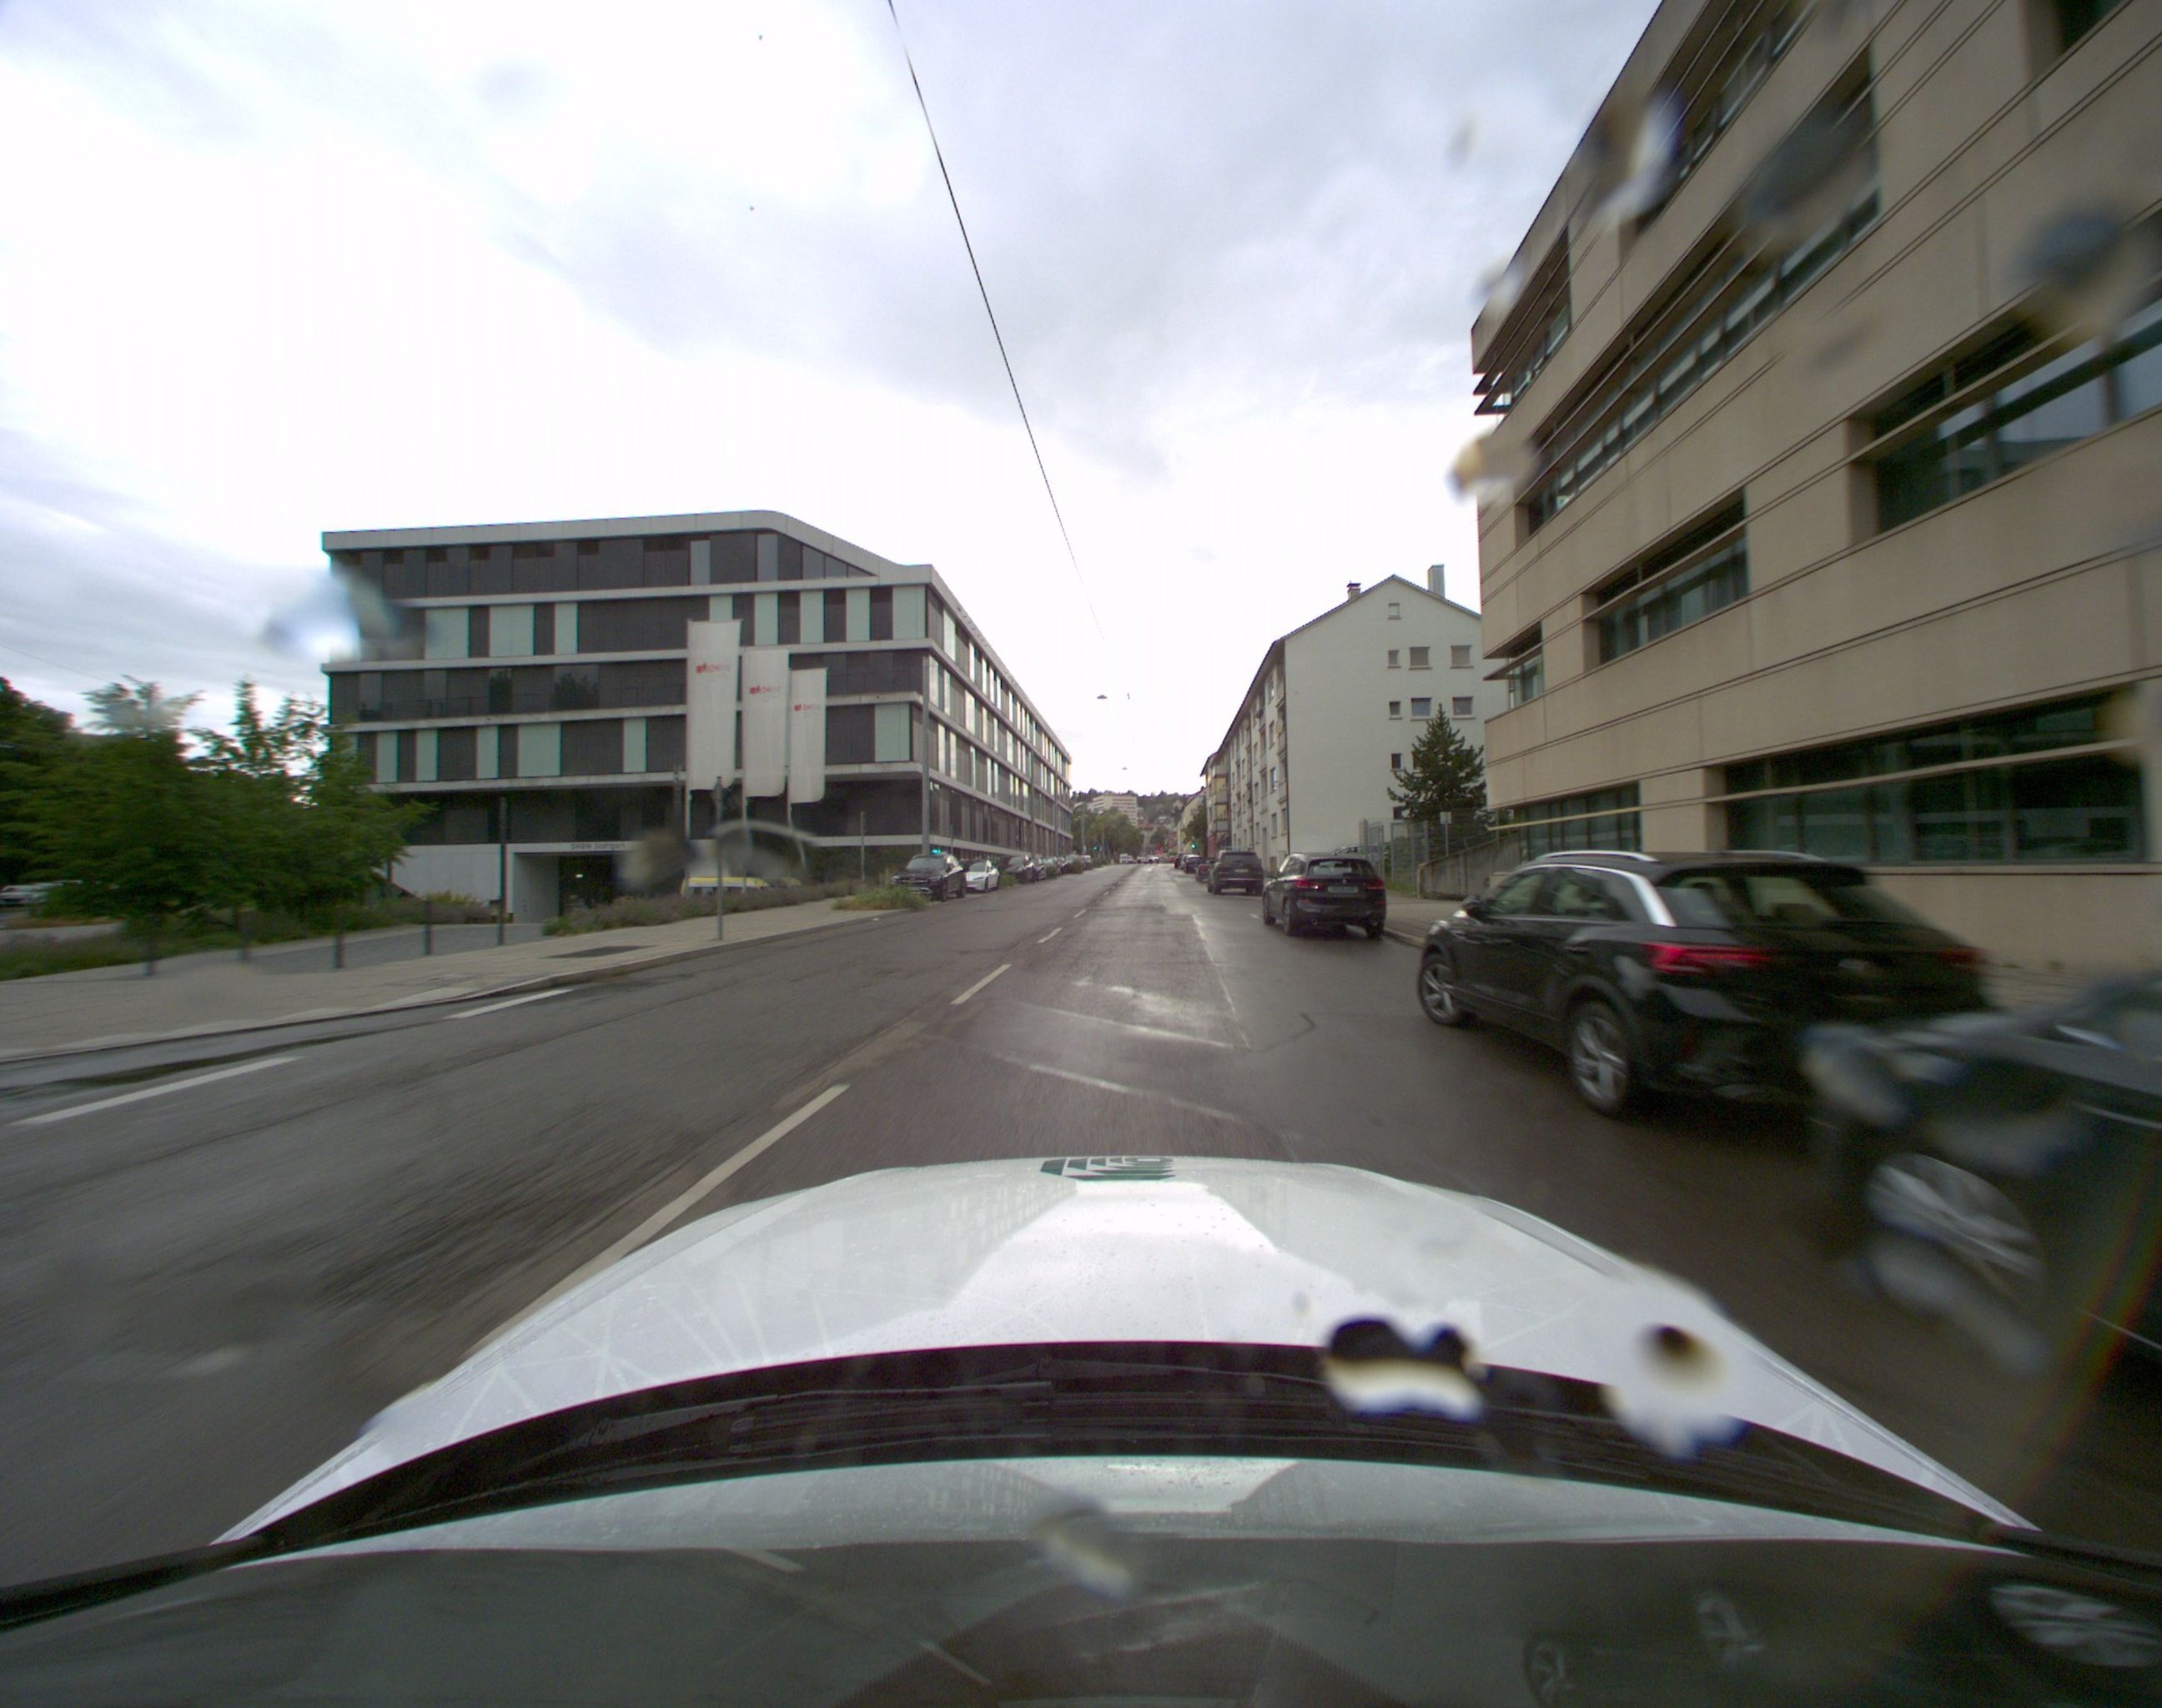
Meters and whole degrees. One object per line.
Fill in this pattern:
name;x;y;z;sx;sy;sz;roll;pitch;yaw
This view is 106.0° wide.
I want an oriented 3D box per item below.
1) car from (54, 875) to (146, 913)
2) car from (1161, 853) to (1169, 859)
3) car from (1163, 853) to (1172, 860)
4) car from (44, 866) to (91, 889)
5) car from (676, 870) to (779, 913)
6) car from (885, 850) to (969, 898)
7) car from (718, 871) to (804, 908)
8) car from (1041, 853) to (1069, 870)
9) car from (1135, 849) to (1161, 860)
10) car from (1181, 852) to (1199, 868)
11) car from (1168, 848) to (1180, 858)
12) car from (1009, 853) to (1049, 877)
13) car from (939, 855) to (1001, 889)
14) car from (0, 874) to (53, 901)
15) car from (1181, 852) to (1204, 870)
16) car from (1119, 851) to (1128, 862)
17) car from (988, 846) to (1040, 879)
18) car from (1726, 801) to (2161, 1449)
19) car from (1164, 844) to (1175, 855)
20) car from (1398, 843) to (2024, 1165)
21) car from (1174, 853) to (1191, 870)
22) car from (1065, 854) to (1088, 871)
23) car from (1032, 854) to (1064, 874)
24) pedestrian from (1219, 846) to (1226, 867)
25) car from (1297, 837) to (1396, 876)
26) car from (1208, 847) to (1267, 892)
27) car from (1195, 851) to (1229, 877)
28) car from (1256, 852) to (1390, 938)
car;-42.443;1.702;35.330;1.676;1.450;3.826;1;0;-36
car;21.755;0.438;209.995;1.856;1.604;4.198;0;0;8
car;20.699;0.548;194.649;1.856;1.604;4.198;0;0;8
car;-77.272;1.771;62.133;1.757;1.607;3.849;1;0;-44
car;-18.769;1.986;43.372;4.576;2.174;1.930;0;0;-1
car;-5.537;0.687;29.915;1.840;1.617;4.497;0;0;5
car;-18.594;2.039;47.394;4.322;2.032;1.600;0;0;4
car;-2.132;0.595;68.311;1.829;1.396;4.398;0;0;5
car;10.905;0.088;133.169;4.152;1.669;1.650;-4;-5;44
car;10.964;0.565;81.930;1.627;1.571;3.716;0;0;5
car;15.980;-0.123;140.081;1.856;1.770;4.198;0;0;8
car;-3.320;0.705;52.641;1.862;1.472;4.747;0;0;5
car;-4.913;0.763;36.599;1.812;1.419;4.408;0;0;5
car;-69.857;2.172;53.911;1.757;1.607;3.819;1;0;-44
car;9.331;0.592;68.085;1.698;1.454;3.990;0;0;5
car;10.293;0.623;196.240;2.096;2.546;4.754;0;0;3
car;-3.764;0.465;46.700;1.952;1.750;4.952;0;0;7
car;3.512;0.675;1.267;1.763;1.604;4.399;0;0;4
car;16.300;-0.735;149.245;1.856;1.973;4.198;0;0;8
car;3.871;0.743;6.032;1.717;1.512;4.062;2;0;4
car;11.012;0.817;88.734;1.647;1.738;4.185;0;1;5
car;-0.418;0.873;83.925;1.791;1.604;4.243;0;0;8
car;-2.459;0.744;61.962;1.854;1.489;4.353;0;0;5
pedestrian;12.585;0.251;72.365;0.635;1.870;0.539;0;-1;7
car;13.590;0.142;41.878;4.418;1.712;1.907;-3;-1;4
car;6.385;0.593;33.760;1.926;1.750;4.803;0;0;5
car;7.751;0.578;48.337;1.665;1.459;3.769;0;0;4
car;4.799;0.735;16.768;1.735;1.533;4.323;0;0;4
